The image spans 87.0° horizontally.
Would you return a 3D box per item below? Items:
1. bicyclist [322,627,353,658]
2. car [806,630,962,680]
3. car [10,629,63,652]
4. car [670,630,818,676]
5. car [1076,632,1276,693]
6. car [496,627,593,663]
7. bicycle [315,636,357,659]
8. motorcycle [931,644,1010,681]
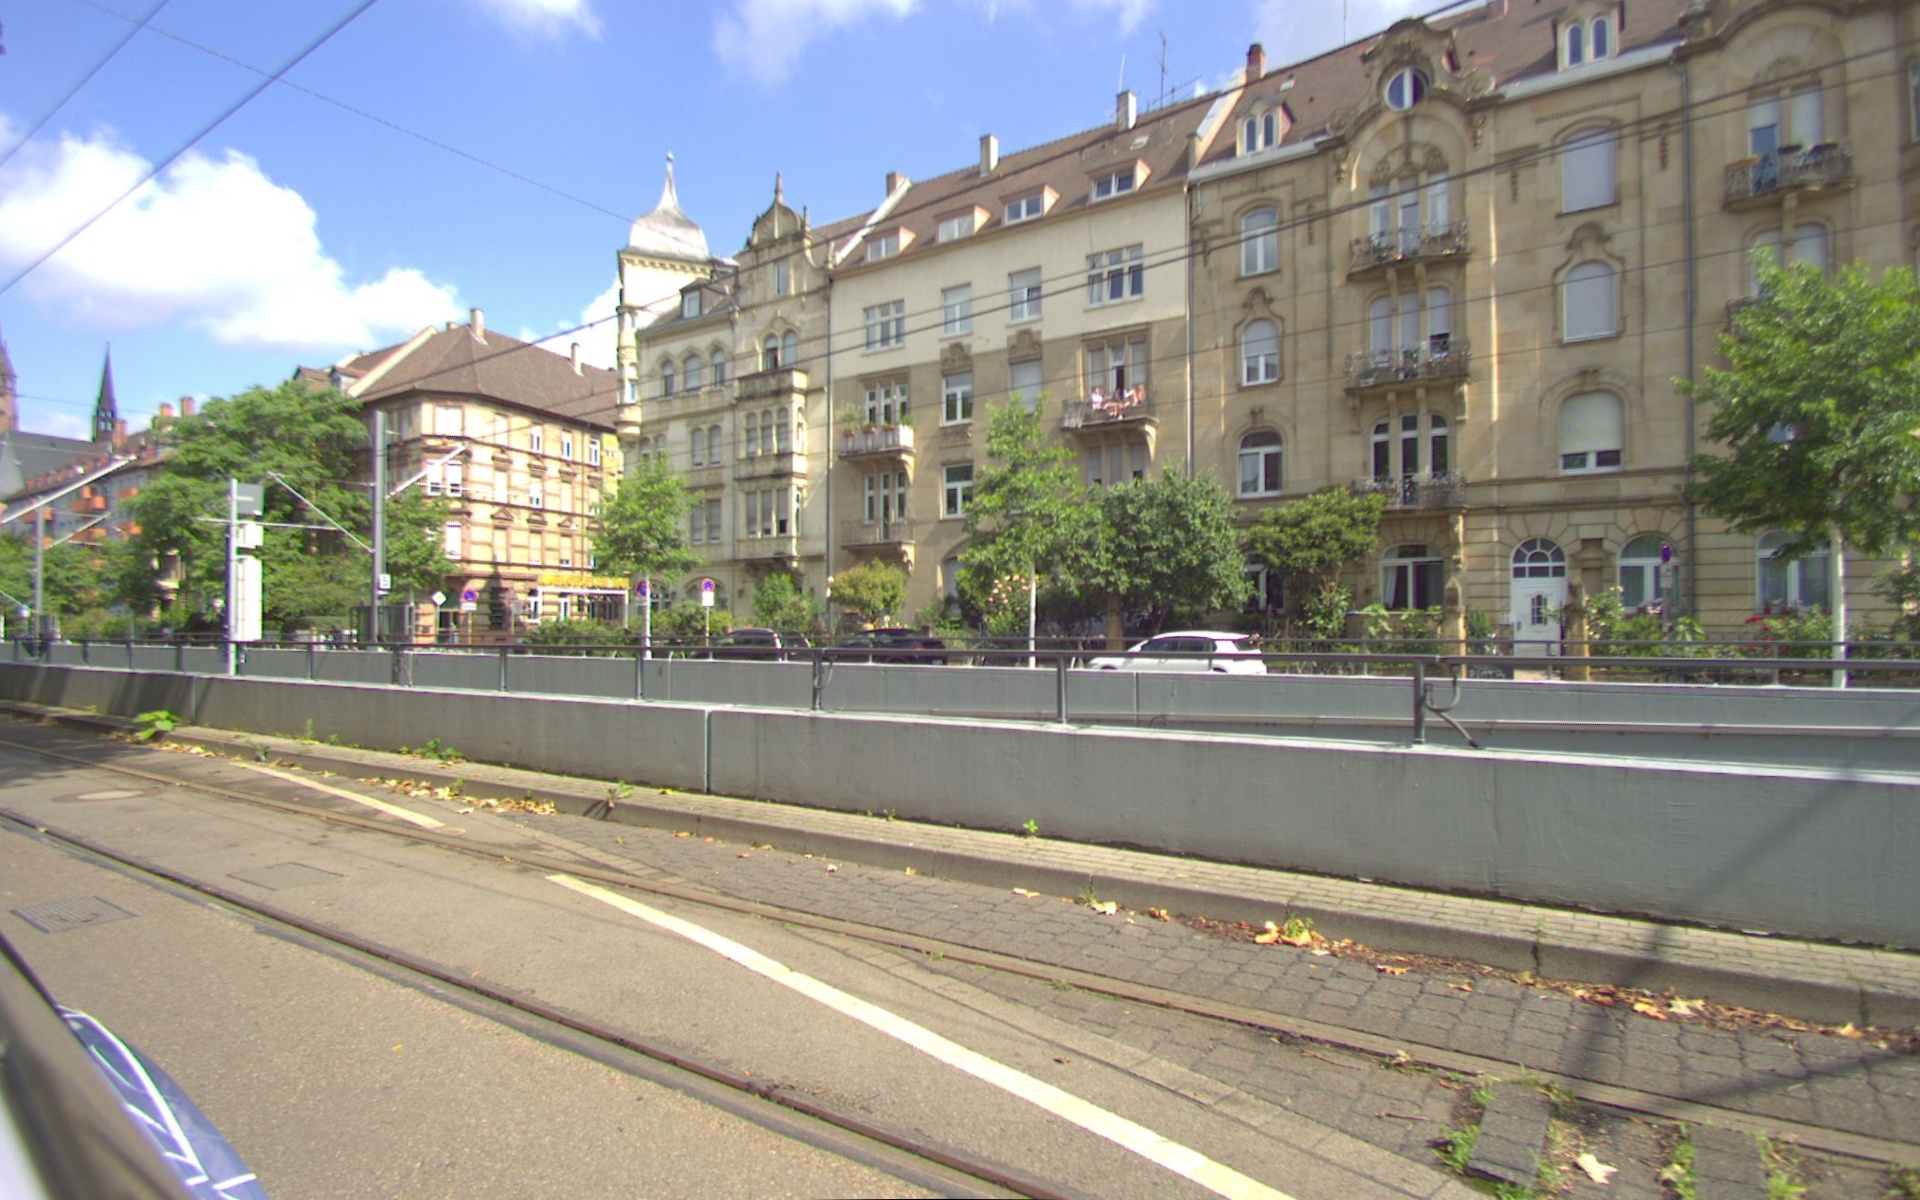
[{"bbox_3d":[-27.441,1.877,44.607,1.046,1.348,0.761,-2,-4,35],"label":"bicyclist"},{"bbox_3d":[-2.195,1.537,28.978,4.088,1.337,2.004,-2,-2,33],"label":"car"},{"bbox_3d":[-68.649,3.002,75.224,4.103,1.650,1.977,-2,-3,34],"label":"car"},{"bbox_3d":[-6.878,1.633,31.986,4.715,1.337,1.932,-2,-2,35],"label":"car"},{"bbox_3d":[5.067,1.424,23.915,4.300,1.338,1.737,-1,-2,33],"label":"car"},{"bbox_3d":[-19.652,2.096,48.046,2.025,1.618,3.928,-1,-2,26],"label":"car"},{"bbox_3d":[-27.540,2.086,44.671,2.136,0.986,0.769,-2,-4,35],"label":"bicycle"},{"bbox_3d":[0.294,1.686,27.251,1.414,0.949,1.746,-1,-4,33],"label":"motorcycle"}]
